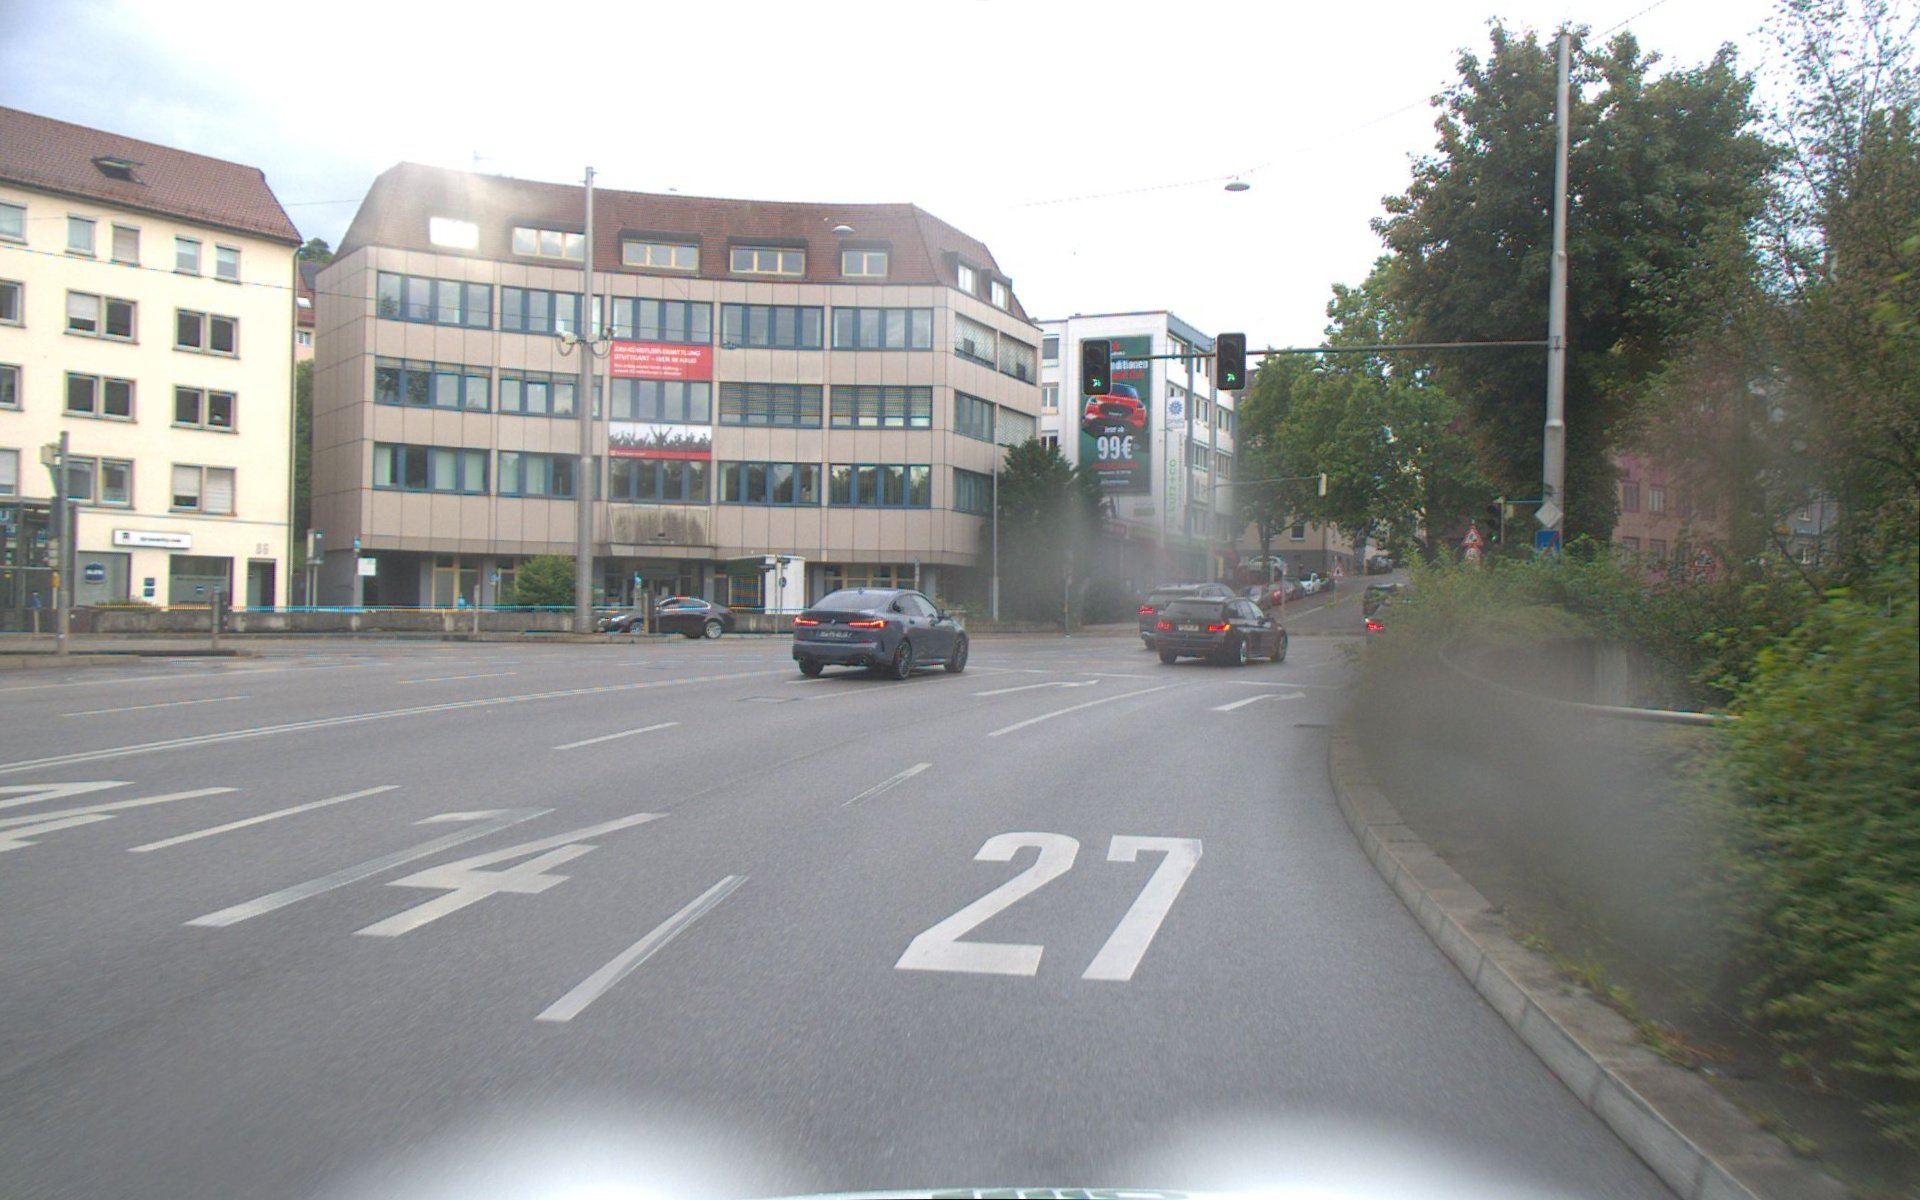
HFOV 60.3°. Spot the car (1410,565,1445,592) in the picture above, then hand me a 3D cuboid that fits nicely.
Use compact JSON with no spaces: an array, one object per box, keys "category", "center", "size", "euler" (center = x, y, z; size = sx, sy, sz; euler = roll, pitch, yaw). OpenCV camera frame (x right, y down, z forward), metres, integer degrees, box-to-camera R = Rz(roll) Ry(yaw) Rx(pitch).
[{"category":"car","center":[34.542,-1.603,122.175],"size":[1.892,1.703,4.000],"euler":[0,4,24]}]

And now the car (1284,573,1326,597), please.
[{"category":"car","center":[24.767,-1.091,118.643],"size":[1.798,1.455,4.065],"euler":[-1,4,29]}]

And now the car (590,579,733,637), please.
[{"category":"car","center":[-10.058,0.306,55.828],"size":[4.380,1.876,1.979],"euler":[1,-1,-31]}]

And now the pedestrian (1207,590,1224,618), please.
[{"category":"pedestrian","center":[16.345,0.258,105.719],"size":[0.822,1.748,0.981],"euler":[0,-1,24]}]

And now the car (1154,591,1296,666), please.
[{"category":"car","center":[5.734,0.565,35.386],"size":[1.756,1.451,4.609],"euler":[1,1,25]}]

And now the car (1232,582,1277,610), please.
[{"category":"car","center":[18.761,-0.238,105.229],"size":[1.796,1.488,4.176],"euler":[-1,3,24]}]

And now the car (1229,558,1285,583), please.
[{"category":"car","center":[25.073,-2.480,139.575],"size":[4.325,2.041,2.000],"euler":[0,-1,20]}]

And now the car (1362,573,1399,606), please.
[{"category":"car","center":[25.532,-0.633,100.318],"size":[1.890,1.900,4.002],"euler":[2,1,18]}]

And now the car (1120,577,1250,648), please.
[{"category":"car","center":[5.841,0.343,42.508],"size":[1.865,1.723,3.990],"euler":[-1,-1,32]}]

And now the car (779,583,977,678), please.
[{"category":"car","center":[-1.271,0.511,27.713],"size":[1.753,1.451,4.385],"euler":[0,-1,20]}]

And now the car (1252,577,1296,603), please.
[{"category":"car","center":[20.934,-0.669,110.183],"size":[1.797,1.455,4.068],"euler":[-1,3,26]}]

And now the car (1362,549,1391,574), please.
[{"category":"car","center":[36.904,-3.397,146.395],"size":[1.953,2.049,3.999],"euler":[0,-1,22]}]

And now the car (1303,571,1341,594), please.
[{"category":"car","center":[26.918,-1.291,122.942],"size":[1.797,1.455,4.067],"euler":[-1,3,26]}]

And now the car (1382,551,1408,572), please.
[{"category":"car","center":[41.909,-3.710,159.222],"size":[1.953,1.874,4.001],"euler":[0,3,22]}]

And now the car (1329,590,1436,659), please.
[{"category":"car","center":[9.587,0.558,37.334],"size":[1.918,1.451,4.125],"euler":[0,-1,21]}]
